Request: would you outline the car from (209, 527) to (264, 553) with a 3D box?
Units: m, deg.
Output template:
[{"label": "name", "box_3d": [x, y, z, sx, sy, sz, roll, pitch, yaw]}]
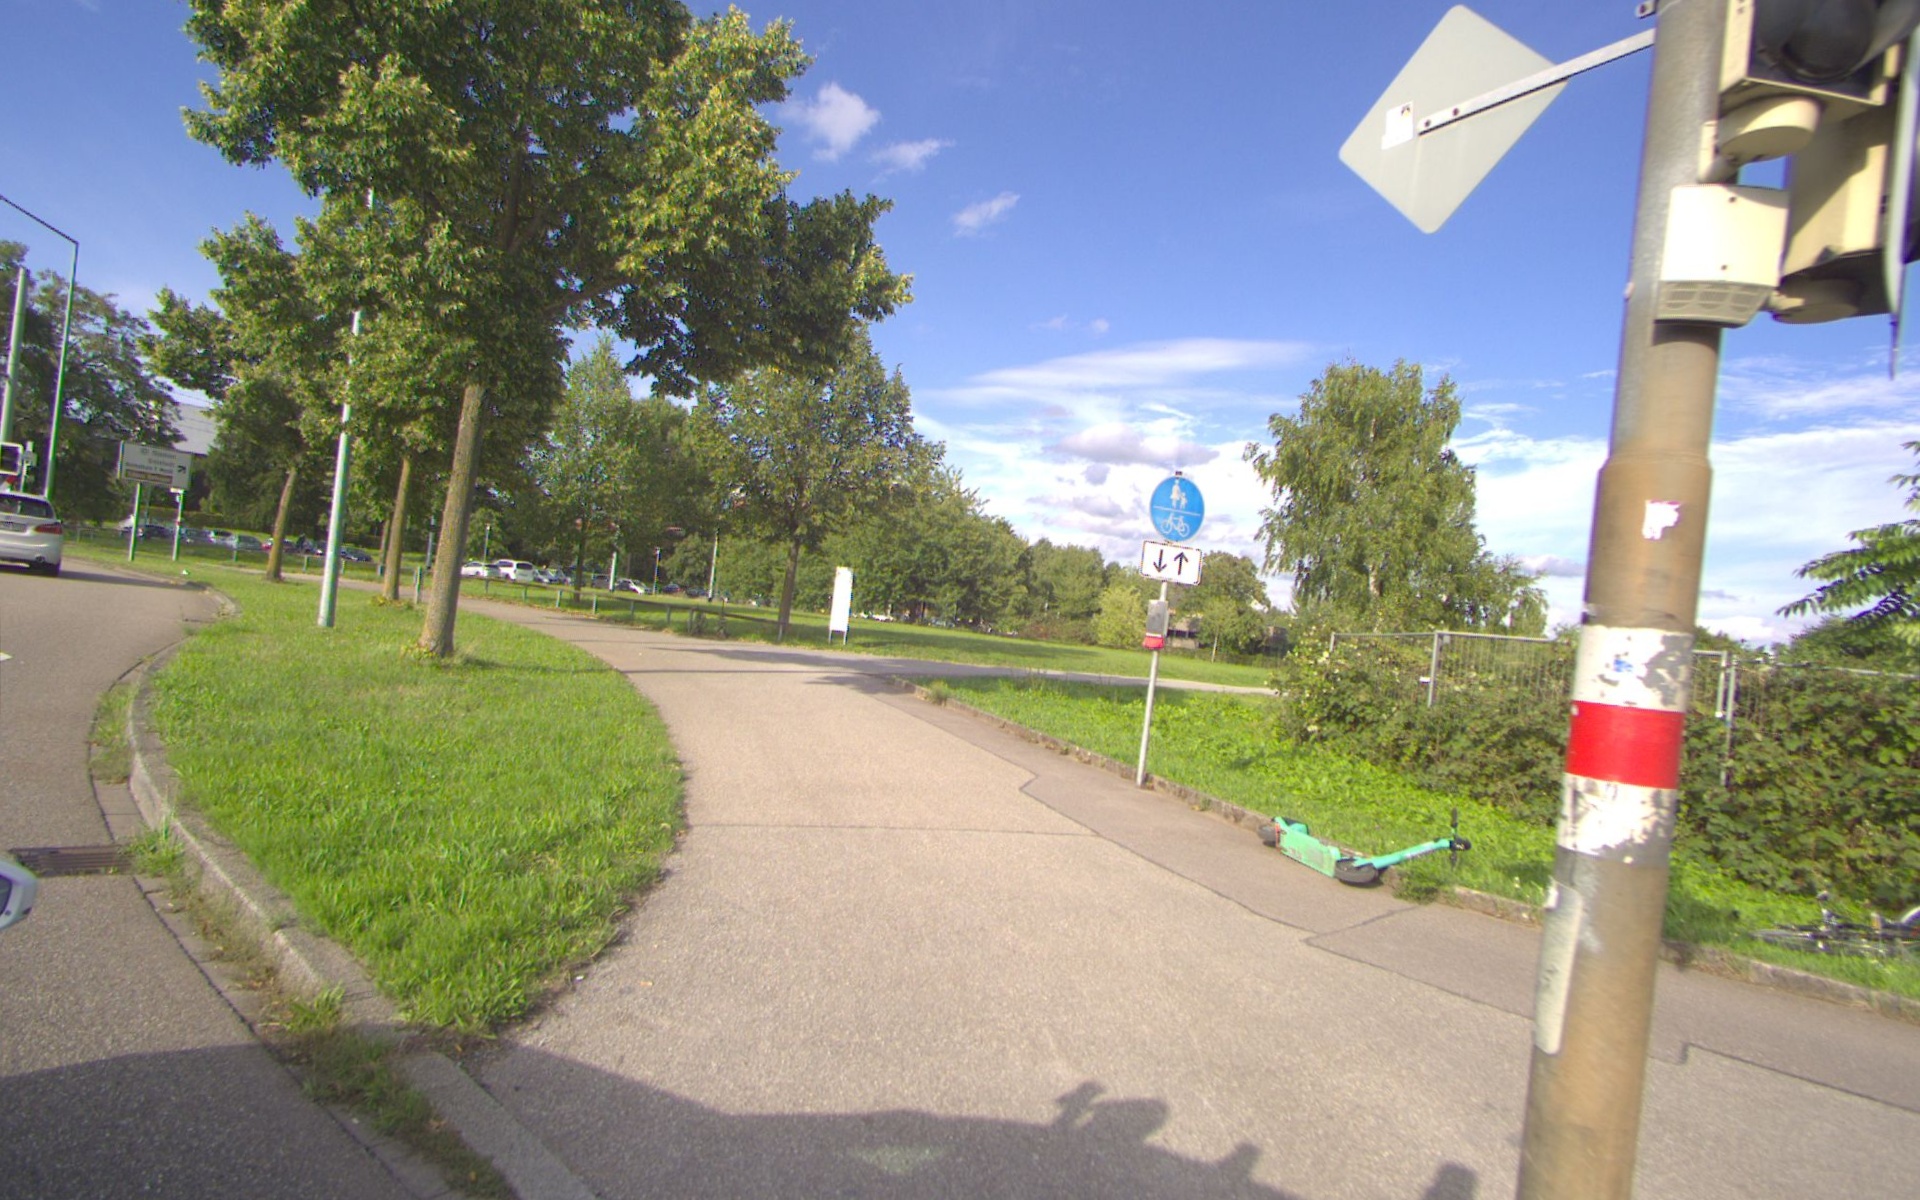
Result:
[{"label": "car", "box_3d": [-50.224, -4.163, 69.836, 4.763, 1.374, 1.854, 6, -1, 39]}]

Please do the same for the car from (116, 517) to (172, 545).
[{"label": "car", "box_3d": [-53.044, -4.485, 65.354, 4.664, 1.376, 1.854, 6, -1, 39]}]

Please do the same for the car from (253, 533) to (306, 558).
[{"label": "car", "box_3d": [-48.582, -3.926, 71.777, 4.404, 1.379, 1.854, 6, -1, 39]}]

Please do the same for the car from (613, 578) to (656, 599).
[{"label": "car", "box_3d": [-30.785, -1.115, 95.051, 4.408, 1.523, 1.852, 6, -1, 42]}]

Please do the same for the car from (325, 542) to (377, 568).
[{"label": "car", "box_3d": [-45.778, -3.381, 75.556, 4.404, 1.534, 1.854, 6, -1, 39]}]

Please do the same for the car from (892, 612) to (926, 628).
[{"label": "car", "box_3d": [-6.427, 2.535, 127.228, 1.846, 1.560, 4.419, 7, -1, -41]}]

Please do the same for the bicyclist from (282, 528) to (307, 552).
[{"label": "bicyclist", "box_3d": [-41.488, -3.725, 62.711, 0.700, 1.372, 1.006, 7, 0, 7]}]

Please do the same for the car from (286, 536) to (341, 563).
[{"label": "car", "box_3d": [-47.153, -3.706, 73.353, 4.873, 1.534, 1.854, 6, -1, 39]}]

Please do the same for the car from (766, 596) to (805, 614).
[{"label": "car", "box_3d": [-19.222, 0.538, 110.916, 4.408, 1.560, 1.850, 6, -1, 42]}]

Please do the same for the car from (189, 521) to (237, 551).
[{"label": "car", "box_3d": [-58.169, -4.997, 78.338, 4.744, 2.036, 1.870, 4, -4, 41]}]

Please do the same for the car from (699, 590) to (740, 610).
[{"label": "car", "box_3d": [-24.699, -0.006, 103.381, 4.408, 1.560, 1.850, 6, -1, 42]}]

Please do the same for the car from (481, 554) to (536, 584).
[{"label": "car", "box_3d": [-38.296, -2.644, 85.258, 5.043, 2.032, 2.306, 6, -1, 42]}]

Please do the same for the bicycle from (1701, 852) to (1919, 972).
[{"label": "bicycle", "box_3d": [5.578, 1.845, 5.899, 2.225, 0.350, 1.084, 11, -3, -26]}]

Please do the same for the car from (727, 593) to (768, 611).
[{"label": "car", "box_3d": [-22.537, 0.226, 106.646, 4.408, 1.471, 1.850, 6, -1, 42]}]

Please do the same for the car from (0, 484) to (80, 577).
[{"label": "car", "box_3d": [-19.186, -1.443, 20.329, 1.843, 1.590, 4.406, 8, -2, -40]}]

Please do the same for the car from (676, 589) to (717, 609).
[{"label": "car", "box_3d": [-26.631, -0.146, 101.607, 4.408, 1.534, 1.794, 6, -1, 42]}]

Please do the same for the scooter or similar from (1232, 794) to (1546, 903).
[{"label": "scooter or similar", "box_3d": [2.837, 1.665, 6.856, 1.274, 0.284, 1.548, 7, -1, -16]}]

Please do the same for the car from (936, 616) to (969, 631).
[{"label": "car", "box_3d": [-0.991, 3.125, 133.462, 1.846, 1.560, 4.419, 7, -1, -41]}]

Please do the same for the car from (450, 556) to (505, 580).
[{"label": "car", "box_3d": [-39.781, -2.635, 82.882, 4.395, 1.534, 1.857, 6, -1, 31]}]

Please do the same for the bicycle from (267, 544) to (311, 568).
[{"label": "bicycle", "box_3d": [-41.585, -2.729, 62.378, 0.700, 1.237, 2.530, 7, -1, 7]}]

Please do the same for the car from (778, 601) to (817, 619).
[{"label": "car", "box_3d": [-18.322, 1.092, 113.104, 4.408, 1.560, 1.850, 6, -1, 42]}]

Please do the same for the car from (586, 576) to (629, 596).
[{"label": "car", "box_3d": [-32.618, -1.336, 93.034, 4.408, 1.415, 1.852, 6, -1, 42]}]

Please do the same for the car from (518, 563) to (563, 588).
[{"label": "car", "box_3d": [-36.601, -2.149, 87.805, 2.089, 1.694, 4.415, 7, -1, -43]}]

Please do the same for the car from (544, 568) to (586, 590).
[{"label": "car", "box_3d": [-35.155, -1.858, 89.455, 2.024, 1.534, 4.062, 7, -1, -43]}]
